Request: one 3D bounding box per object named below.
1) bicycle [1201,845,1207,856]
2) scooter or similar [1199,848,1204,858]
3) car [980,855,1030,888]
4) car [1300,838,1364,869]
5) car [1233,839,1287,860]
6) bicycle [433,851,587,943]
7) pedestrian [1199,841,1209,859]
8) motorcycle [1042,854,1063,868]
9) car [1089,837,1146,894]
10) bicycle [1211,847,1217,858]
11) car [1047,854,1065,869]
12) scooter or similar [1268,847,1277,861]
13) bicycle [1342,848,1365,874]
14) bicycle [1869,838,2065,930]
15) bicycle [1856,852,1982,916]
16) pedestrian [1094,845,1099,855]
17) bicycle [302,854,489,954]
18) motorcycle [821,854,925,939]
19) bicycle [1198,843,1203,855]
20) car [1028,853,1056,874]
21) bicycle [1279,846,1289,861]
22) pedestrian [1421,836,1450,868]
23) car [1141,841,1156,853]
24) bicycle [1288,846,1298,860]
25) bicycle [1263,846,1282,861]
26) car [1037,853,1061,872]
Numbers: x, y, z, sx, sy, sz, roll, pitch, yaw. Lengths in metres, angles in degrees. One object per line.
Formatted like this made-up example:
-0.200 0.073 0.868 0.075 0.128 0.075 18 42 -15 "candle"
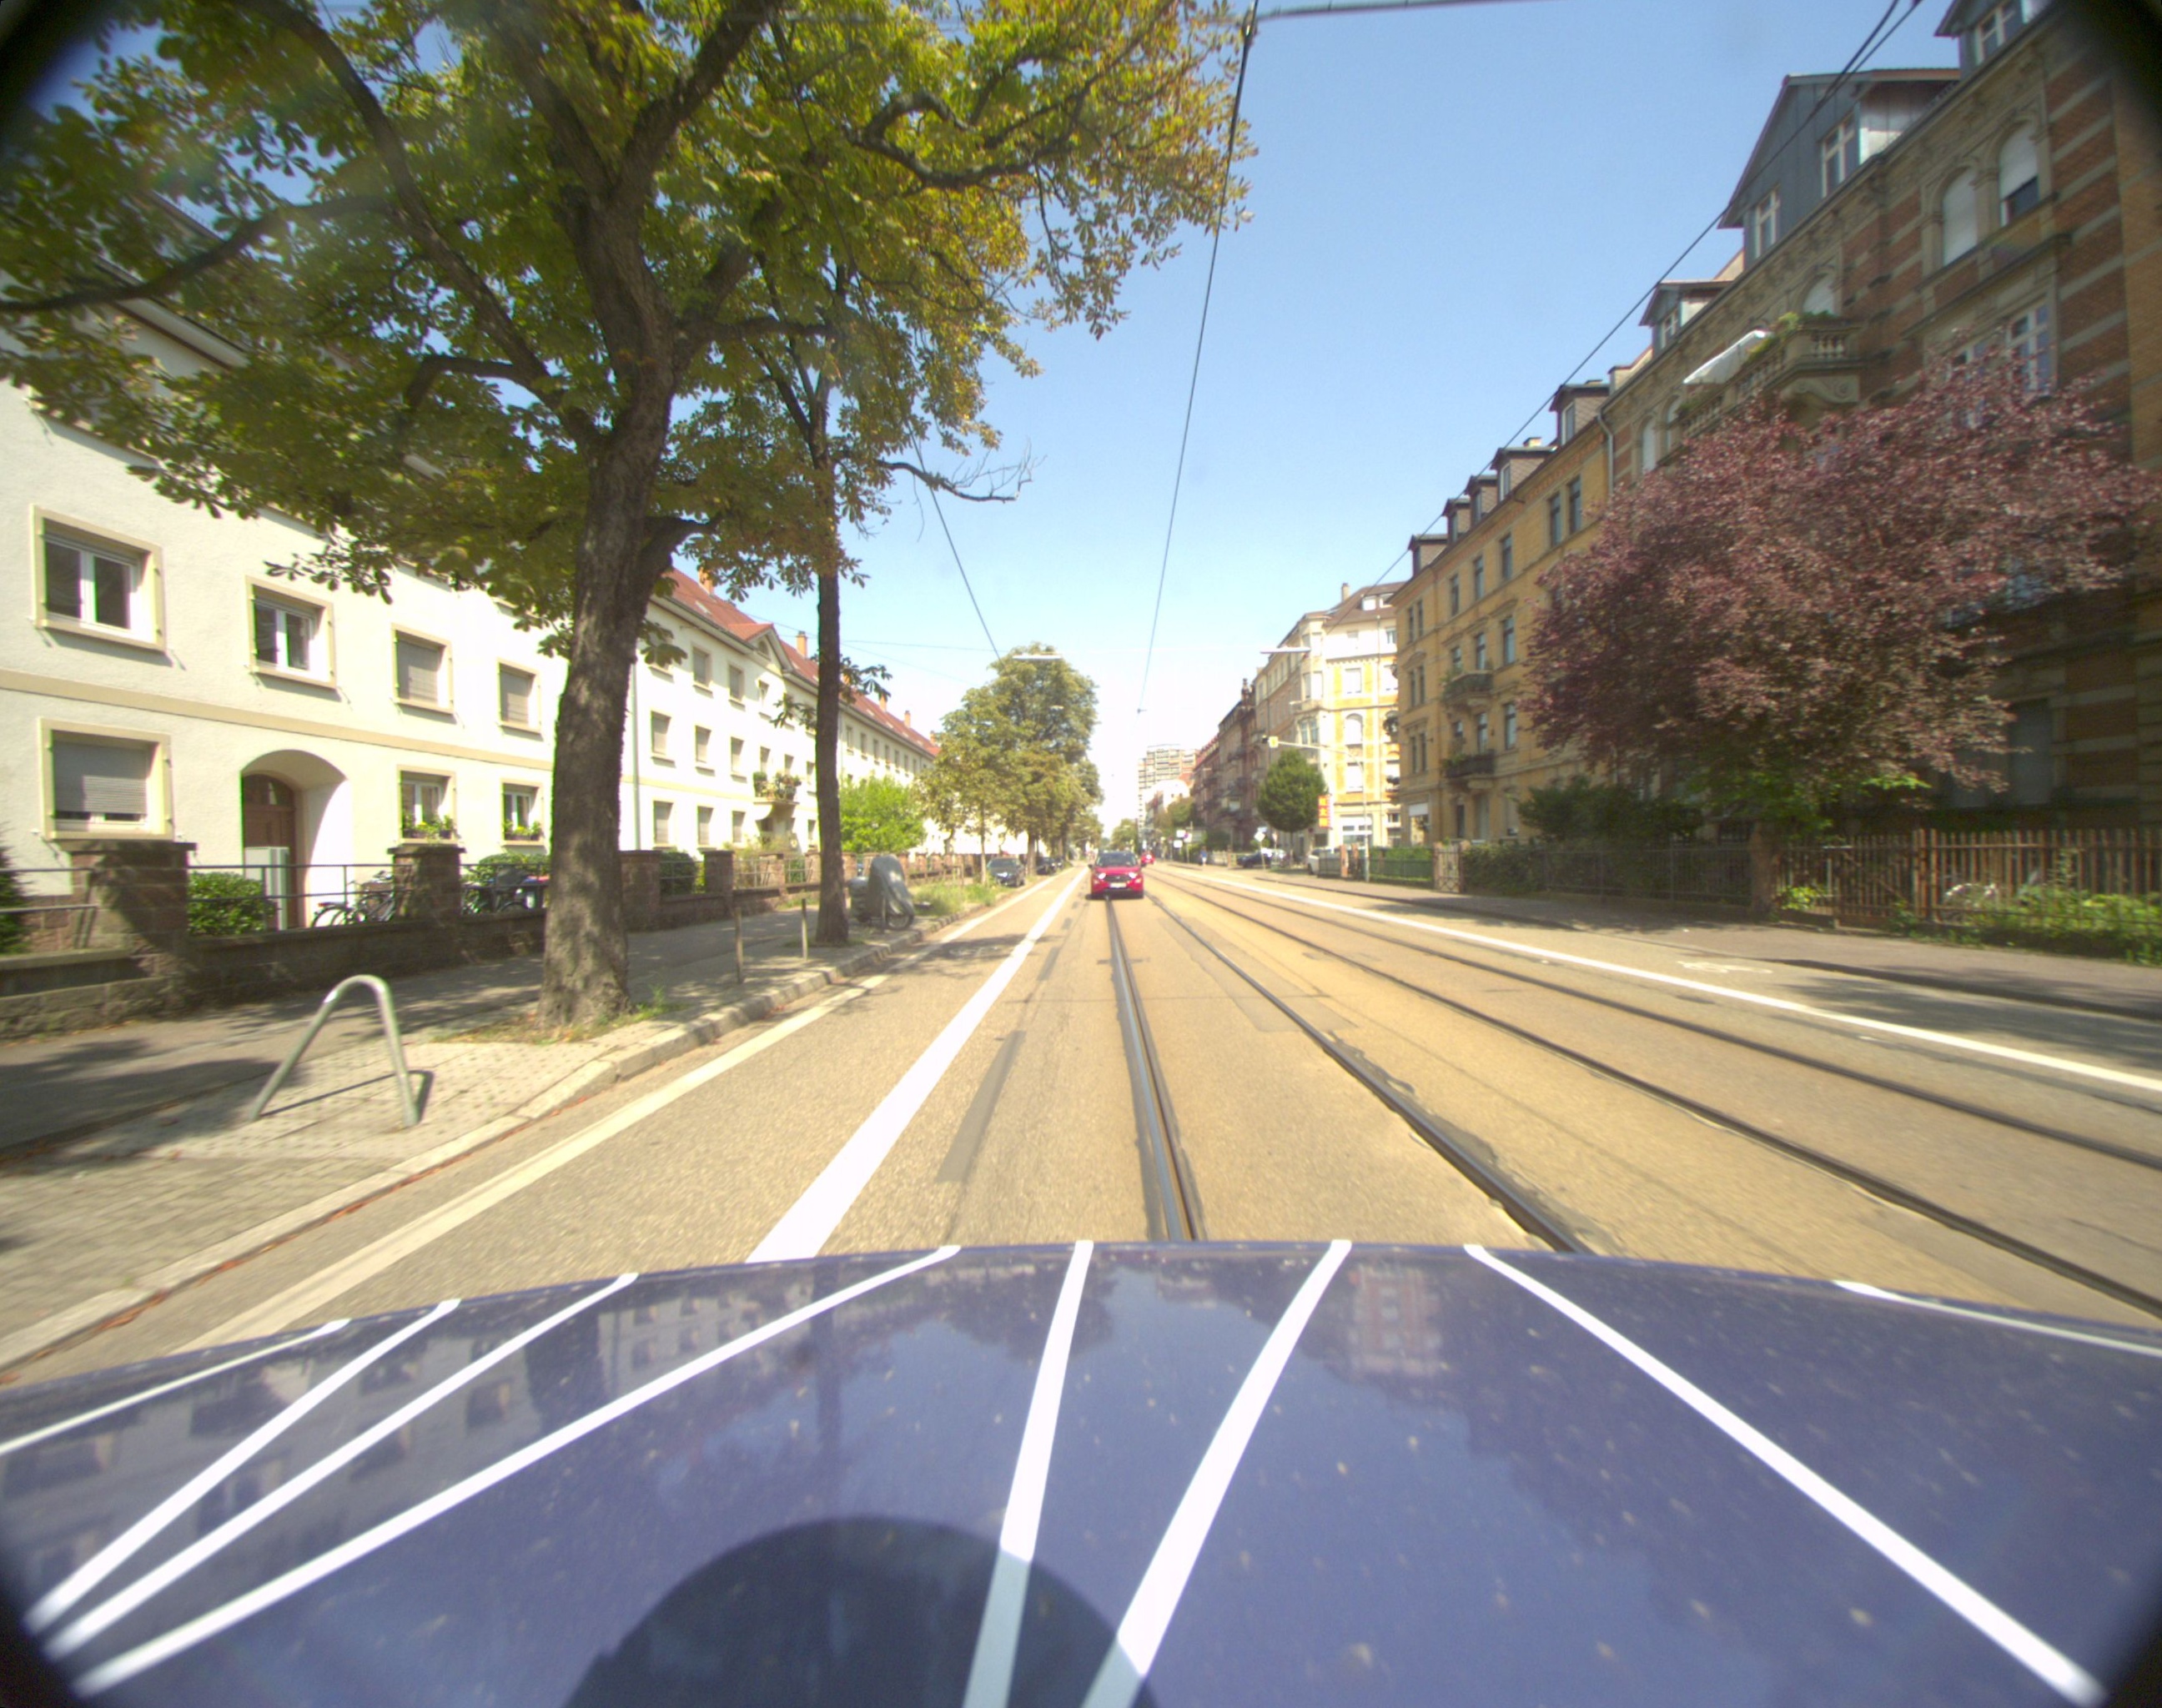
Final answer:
13.132 -0.354 81.057 0.391 1.141 1.582 -1 1 2 "bicycle"
12.067 -0.061 76.054 0.401 0.977 0.584 -3 1 -6 "scooter or similar"
-3.708 0.834 37.927 1.897 1.469 4.840 -1 1 1 "car"
13.933 -0.054 42.433 1.999 1.585 4.358 -1 1 -2 "car"
15.108 -0.397 64.348 4.111 1.585 1.879 -2 1 3 "car"
-9.385 0.653 12.654 0.595 1.350 2.369 -1 1 4 "bicycle"
12.247 -0.404 75.639 0.885 1.746 0.870 -1 1 1 "pedestrian"
-2.777 0.657 74.420 2.009 1.360 0.782 -1 1 -1 "motorcycle"
1.296 0.369 26.584 1.802 1.801 4.417 -1 0 3 "car"
13.134 -0.175 75.021 0.391 1.032 1.833 -1 0 2 "bicycle"
-2.535 0.769 78.468 1.621 1.469 4.039 0 1 2 "car"
14.724 -0.016 58.415 0.597 1.092 1.390 -2 0 12 "scooter or similar"
11.789 0.307 32.944 0.391 1.092 1.568 -1 1 -1 "bicycle"
12.341 0.400 10.625 1.817 1.175 0.716 -2 1 4 "bicycle"
13.652 0.465 12.378 1.820 0.906 0.715 -3 1 -19 "bicycle"
3.034 -0.841 150.450 0.676 1.874 0.921 -2 1 -18 "pedestrian"
-10.547 0.710 11.847 0.595 1.350 2.369 -1 1 4 "bicycle"
-4.346 0.820 15.748 2.339 1.532 0.971 3 4 43 "motorcycle"
13.352 -0.572 84.779 0.391 1.398 1.582 -1 1 2 "bicycle"
-2.845 0.676 56.317 1.760 1.469 4.386 -1 1 1 "car"
15.574 -0.055 58.345 0.389 1.092 1.454 -1 0 27 "bicycle"
16.697 -0.094 35.815 0.870 1.502 0.885 -1 1 -7 "pedestrian"
8.939 -0.906 100.861 1.736 1.481 4.000 0 0 1 "car"
16.174 -0.093 57.954 0.389 1.092 1.454 -1 0 27 "bicycle"
15.041 -0.055 59.746 1.453 1.092 0.390 -2 1 -21 "bicycle"
-2.821 0.704 67.452 1.759 1.469 4.457 2 1 2 "car"
